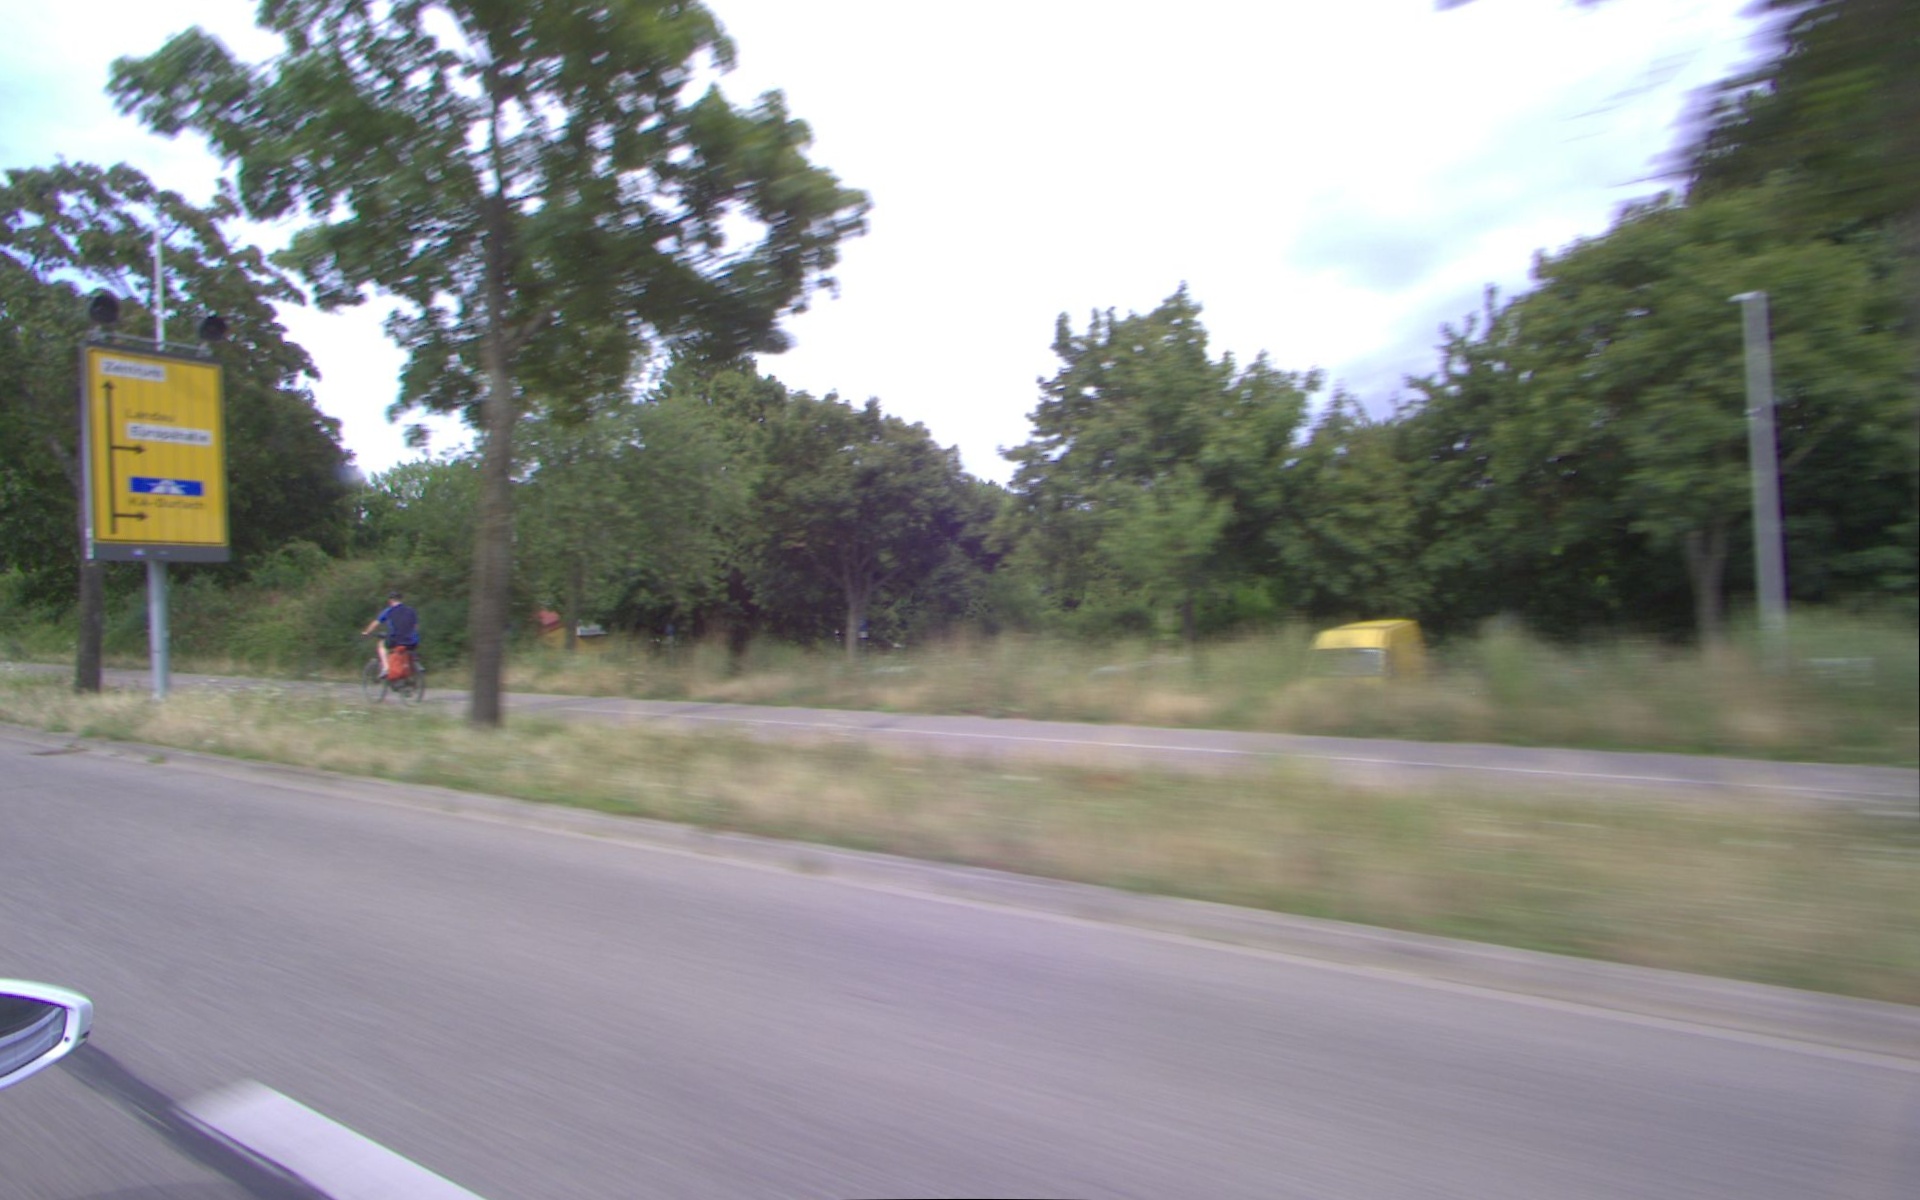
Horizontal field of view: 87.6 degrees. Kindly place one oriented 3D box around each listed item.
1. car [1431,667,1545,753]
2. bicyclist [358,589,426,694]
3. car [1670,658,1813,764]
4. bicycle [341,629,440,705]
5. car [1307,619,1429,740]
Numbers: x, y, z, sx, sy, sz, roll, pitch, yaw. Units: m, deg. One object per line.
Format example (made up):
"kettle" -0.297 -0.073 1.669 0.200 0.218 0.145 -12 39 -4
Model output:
"car" 12.453 2.495 23.504 1.972 1.528 3.976 -1 0 34
"bicyclist" -9.380 0.675 16.536 0.864 1.679 0.650 -1 -1 32
"car" 16.917 2.303 21.879 1.971 1.818 3.980 -1 0 31
"bicycle" -9.451 1.083 16.599 1.954 1.163 0.572 0 1 32
"car" 10.353 1.853 25.211 1.900 2.705 4.517 0 0 35
